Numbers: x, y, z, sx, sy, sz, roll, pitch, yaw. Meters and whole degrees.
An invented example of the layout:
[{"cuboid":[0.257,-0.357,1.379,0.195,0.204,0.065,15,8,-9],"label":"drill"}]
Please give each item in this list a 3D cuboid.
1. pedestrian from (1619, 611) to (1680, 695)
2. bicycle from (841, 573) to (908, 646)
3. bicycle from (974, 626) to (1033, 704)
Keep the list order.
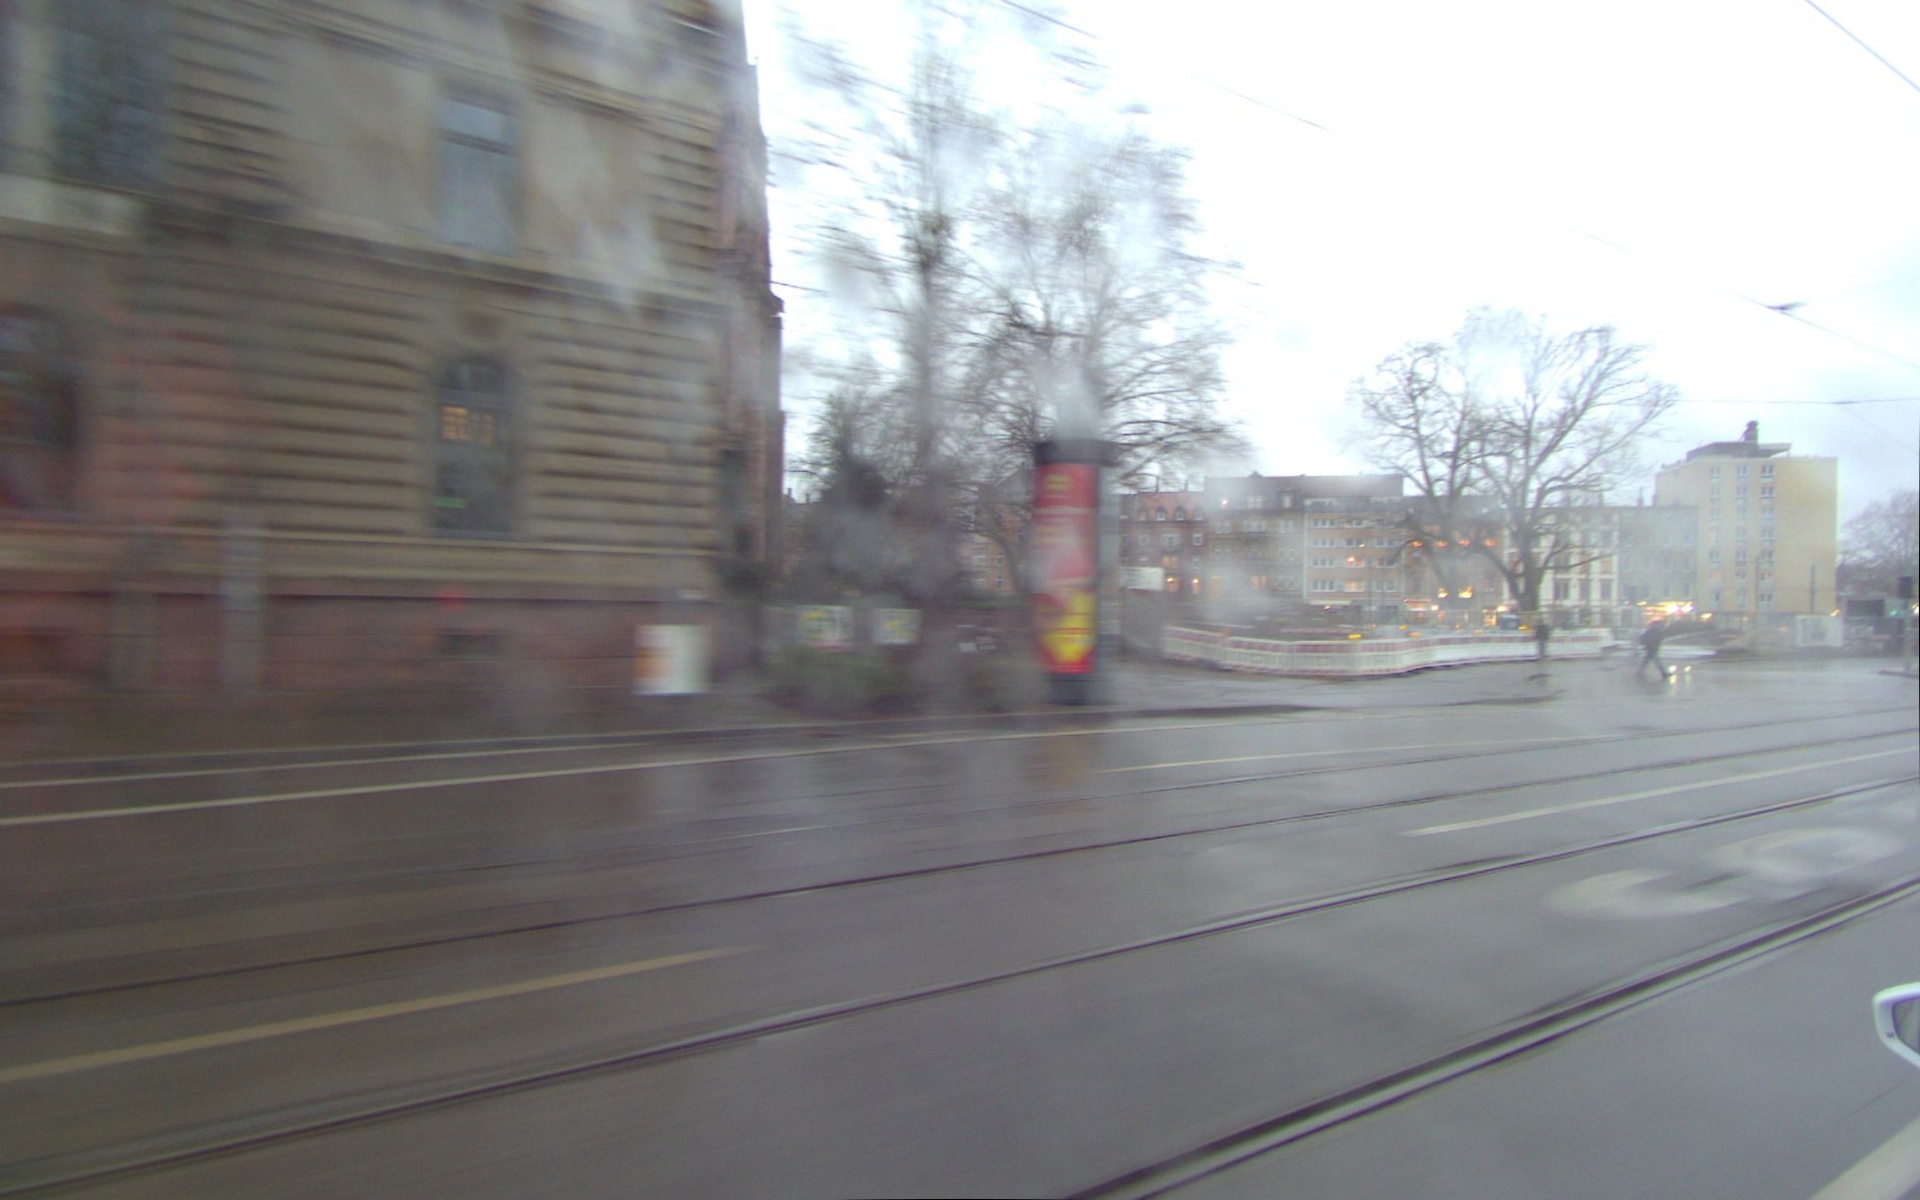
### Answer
[{"cuboid":[20.429,1.552,29.777,1.043,2.402,0.996,2,1,-1],"label":"pedestrian"},{"cuboid":[-2.104,0.228,25.094,0.699,1.711,2.429,2,1,19],"label":"bicycle"},{"cuboid":[1.087,1.536,24.349,0.699,1.711,2.429,2,1,19],"label":"bicycle"}]
